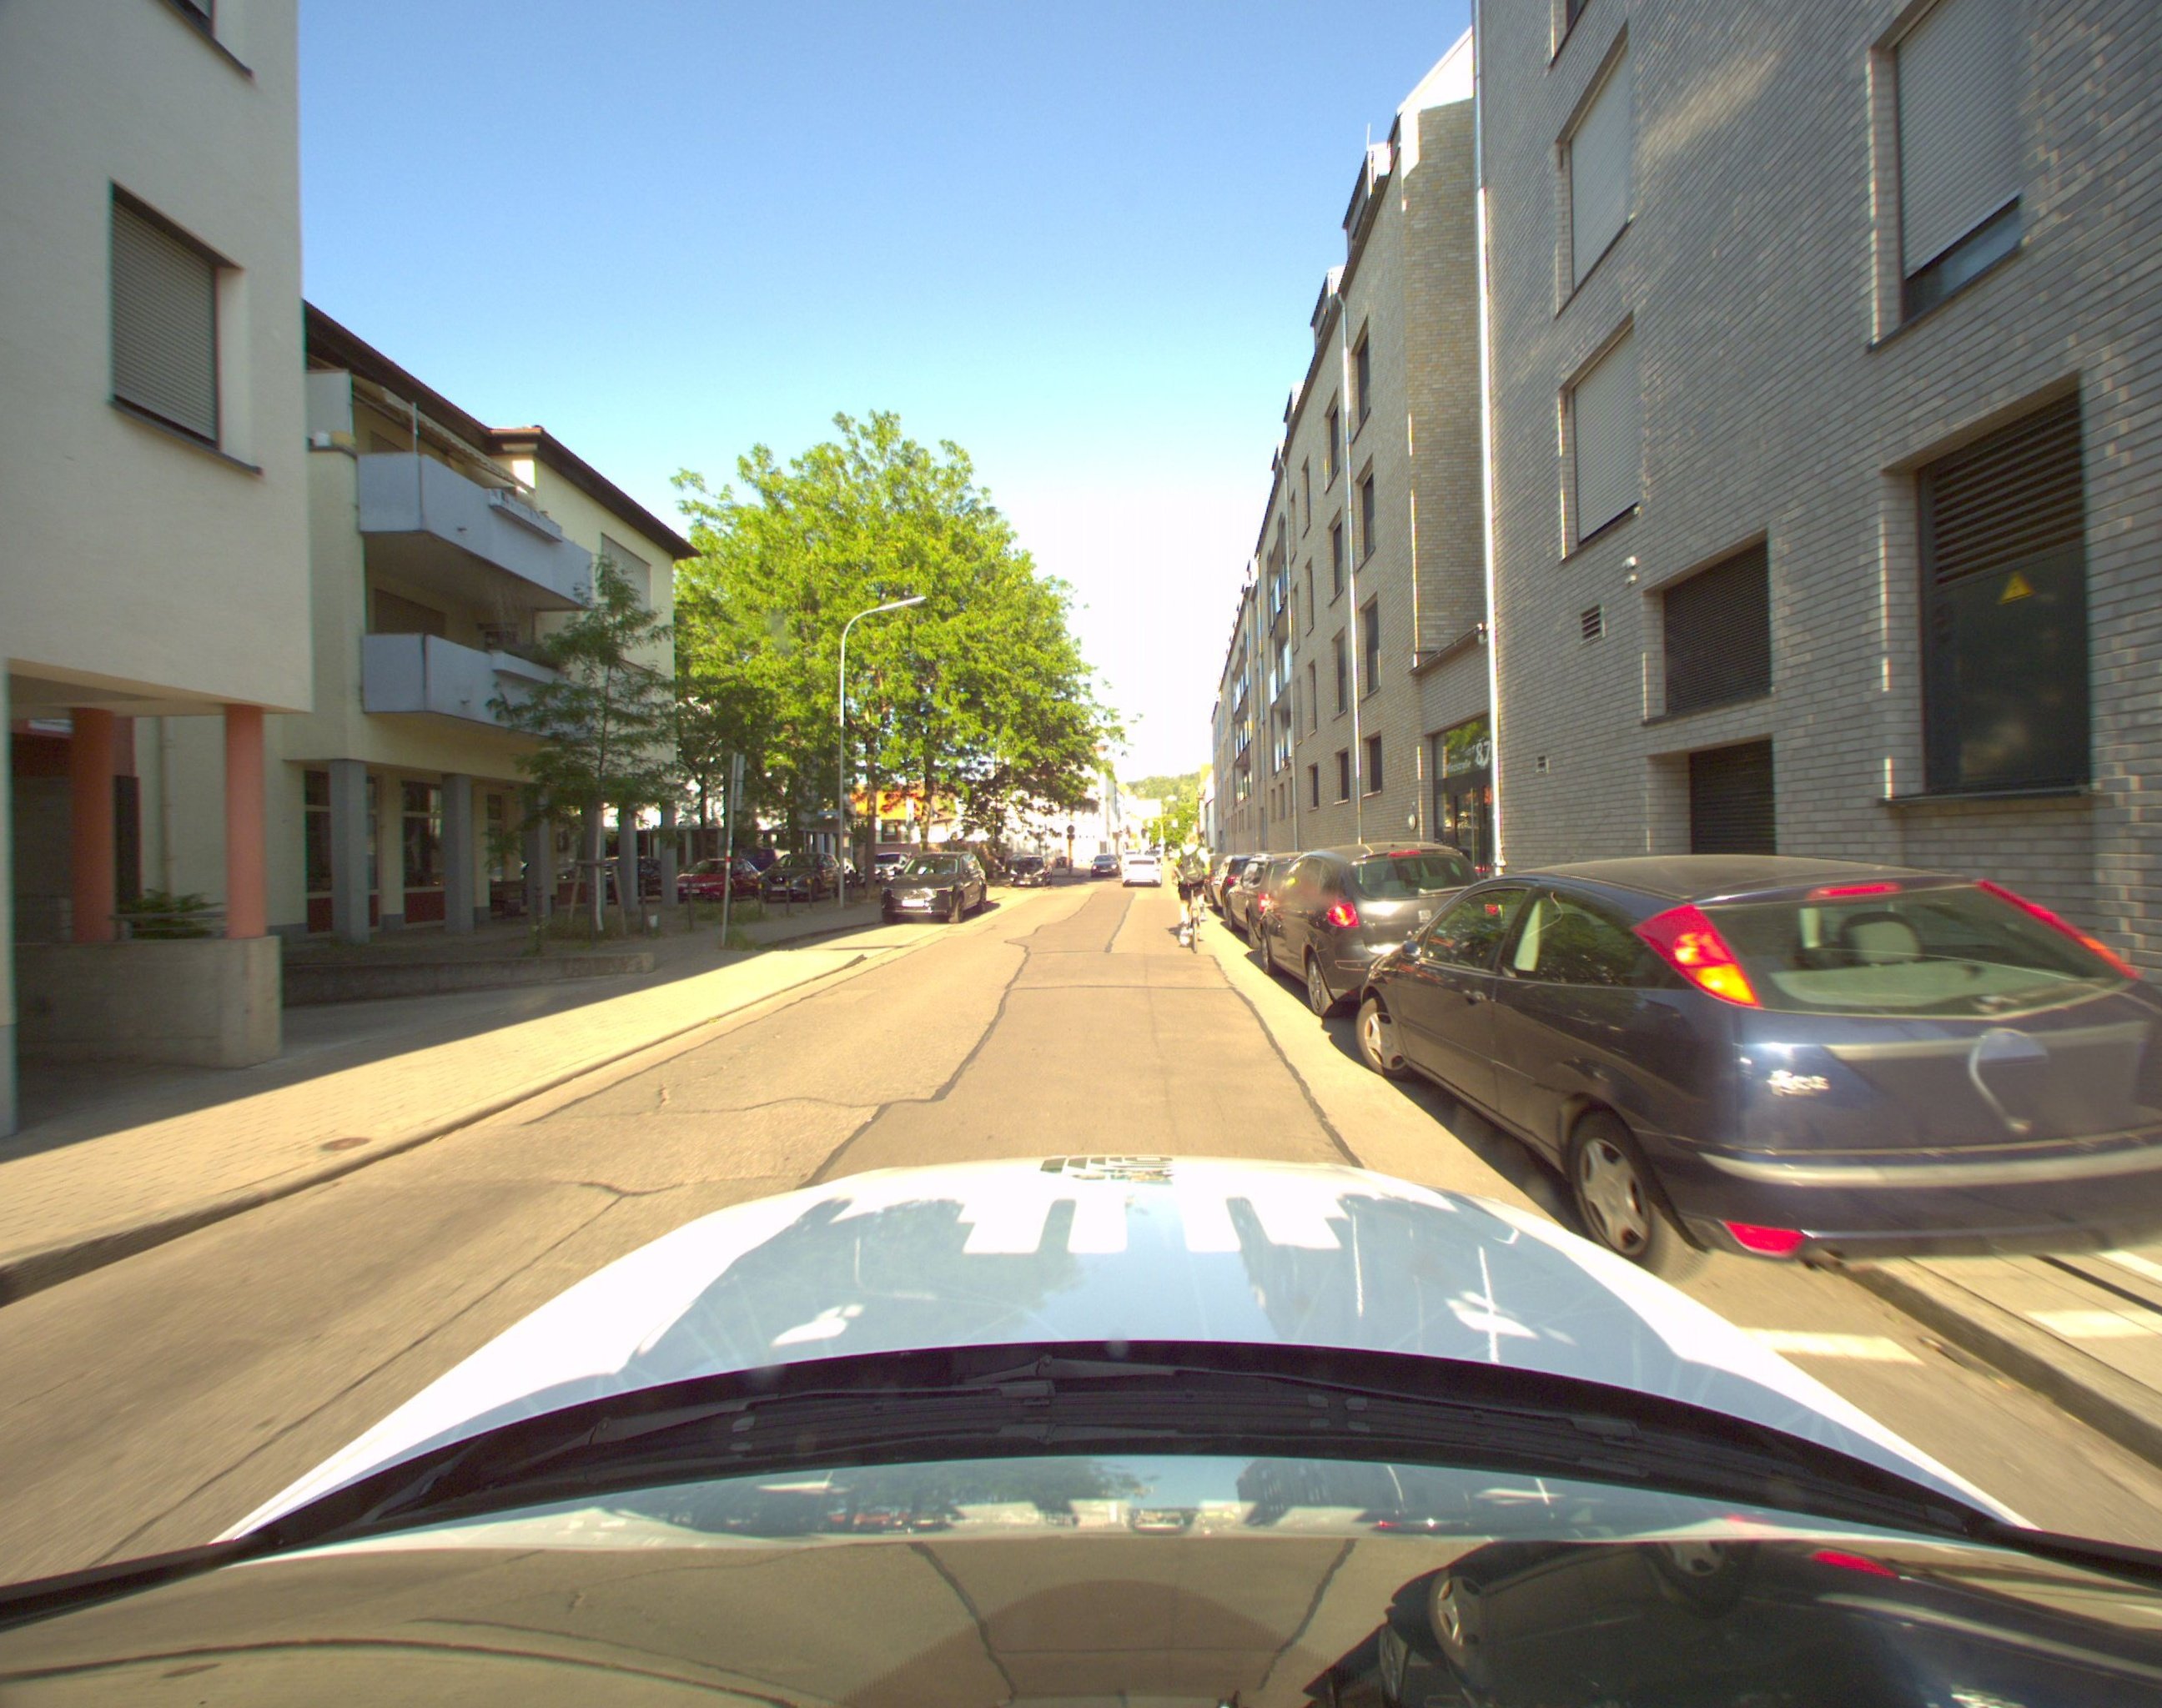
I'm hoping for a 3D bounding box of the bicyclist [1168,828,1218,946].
[{"bbox_3d":[1.758,0.507,12.928,0.695,1.790,1.041,0,-1,3],"label":"bicyclist"}]

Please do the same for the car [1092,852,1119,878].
[{"bbox_3d":[1.554,0.650,51.841,1.658,1.575,3.915,0,0,2],"label":"car"}]

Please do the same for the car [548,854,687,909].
[{"bbox_3d":[-15.124,0.834,26.911,1.851,1.587,4.622,1,0,1],"label":"car"}]

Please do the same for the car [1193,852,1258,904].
[{"bbox_3d":[4.525,0.728,25.903,1.502,1.444,3.531,-4,-1,2],"label":"car"}]

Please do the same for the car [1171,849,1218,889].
[{"bbox_3d":[5.378,0.705,39.119,1.849,1.702,4.627,-4,-1,4],"label":"car"}]

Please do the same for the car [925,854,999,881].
[{"bbox_3d":[-6.881,0.773,47.353,3.877,1.575,1.714,0,0,10],"label":"car"}]

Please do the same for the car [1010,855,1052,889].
[{"bbox_3d":[-2.416,0.858,40.232,1.698,1.575,3.915,0,0,2],"label":"car"}]

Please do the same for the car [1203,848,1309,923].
[{"bbox_3d":[4.101,0.689,19.783,1.849,1.587,4.626,-1,0,4],"label":"car"}]

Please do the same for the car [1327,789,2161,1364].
[{"bbox_3d":[2.743,0.659,4.400,1.623,1.587,4.071,-4,-1,2],"label":"car"}]

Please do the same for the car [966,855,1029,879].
[{"bbox_3d":[-5.537,0.850,54.401,3.883,1.575,1.712,0,0,4],"label":"car"}]

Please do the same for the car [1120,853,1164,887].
[{"bbox_3d":[2.791,0.737,38.014,1.835,1.491,4.145,0,-1,1],"label":"car"}]

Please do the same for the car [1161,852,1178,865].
[{"bbox_3d":[12.148,0.617,112.031,1.847,1.791,4.607,0,0,0],"label":"car"}]

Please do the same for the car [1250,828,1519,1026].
[{"bbox_3d":[3.017,0.634,8.977,1.657,1.702,3.916,0,0,3],"label":"car"}]

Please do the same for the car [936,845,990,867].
[{"bbox_3d":[-8.798,0.172,60.980,3.895,1.575,1.707,0,0,-5],"label":"car"}]

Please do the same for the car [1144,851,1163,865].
[{"bbox_3d":[8.526,0.469,95.383,1.934,1.587,4.631,-4,-1,7],"label":"car"}]

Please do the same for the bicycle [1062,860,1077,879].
[{"bbox_3d":[-0.781,1.049,55.268,0.832,1.217,2.843,0,0,2],"label":"bicycle"}]

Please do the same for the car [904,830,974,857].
[{"bbox_3d":[-8.719,-0.619,50.241,3.880,1.575,1.713,0,0,7],"label":"car"}]

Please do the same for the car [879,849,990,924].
[{"bbox_3d":[-3.763,0.781,21.783,1.845,1.791,4.612,0,0,4],"label":"car"}]

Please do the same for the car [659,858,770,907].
[{"bbox_3d":[-12.041,0.890,27.069,1.712,1.449,4.143,1,0,1],"label":"car"}]

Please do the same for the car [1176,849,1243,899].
[{"bbox_3d":[4.662,0.709,30.172,1.850,1.587,4.624,-4,-1,2],"label":"car"}]

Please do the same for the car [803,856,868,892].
[{"bbox_3d":[-11.677,0.922,38.955,1.851,1.587,3.673,1,0,2],"label":"car"}]

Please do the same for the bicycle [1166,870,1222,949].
[{"bbox_3d":[1.762,0.830,13.014,0.695,1.130,2.405,0,-1,3],"label":"bicycle"}]

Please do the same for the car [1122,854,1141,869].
[{"bbox_3d":[5.975,0.839,95.699,1.935,1.587,4.628,-4,-1,5],"label":"car"}]

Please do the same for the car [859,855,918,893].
[{"bbox_3d":[-9.169,0.897,39.078,1.784,1.689,3.965,1,0,1],"label":"car"}]

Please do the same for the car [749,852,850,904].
[{"bbox_3d":[-9.466,0.736,27.782,1.852,1.587,4.620,1,0,-1],"label":"car"}]
